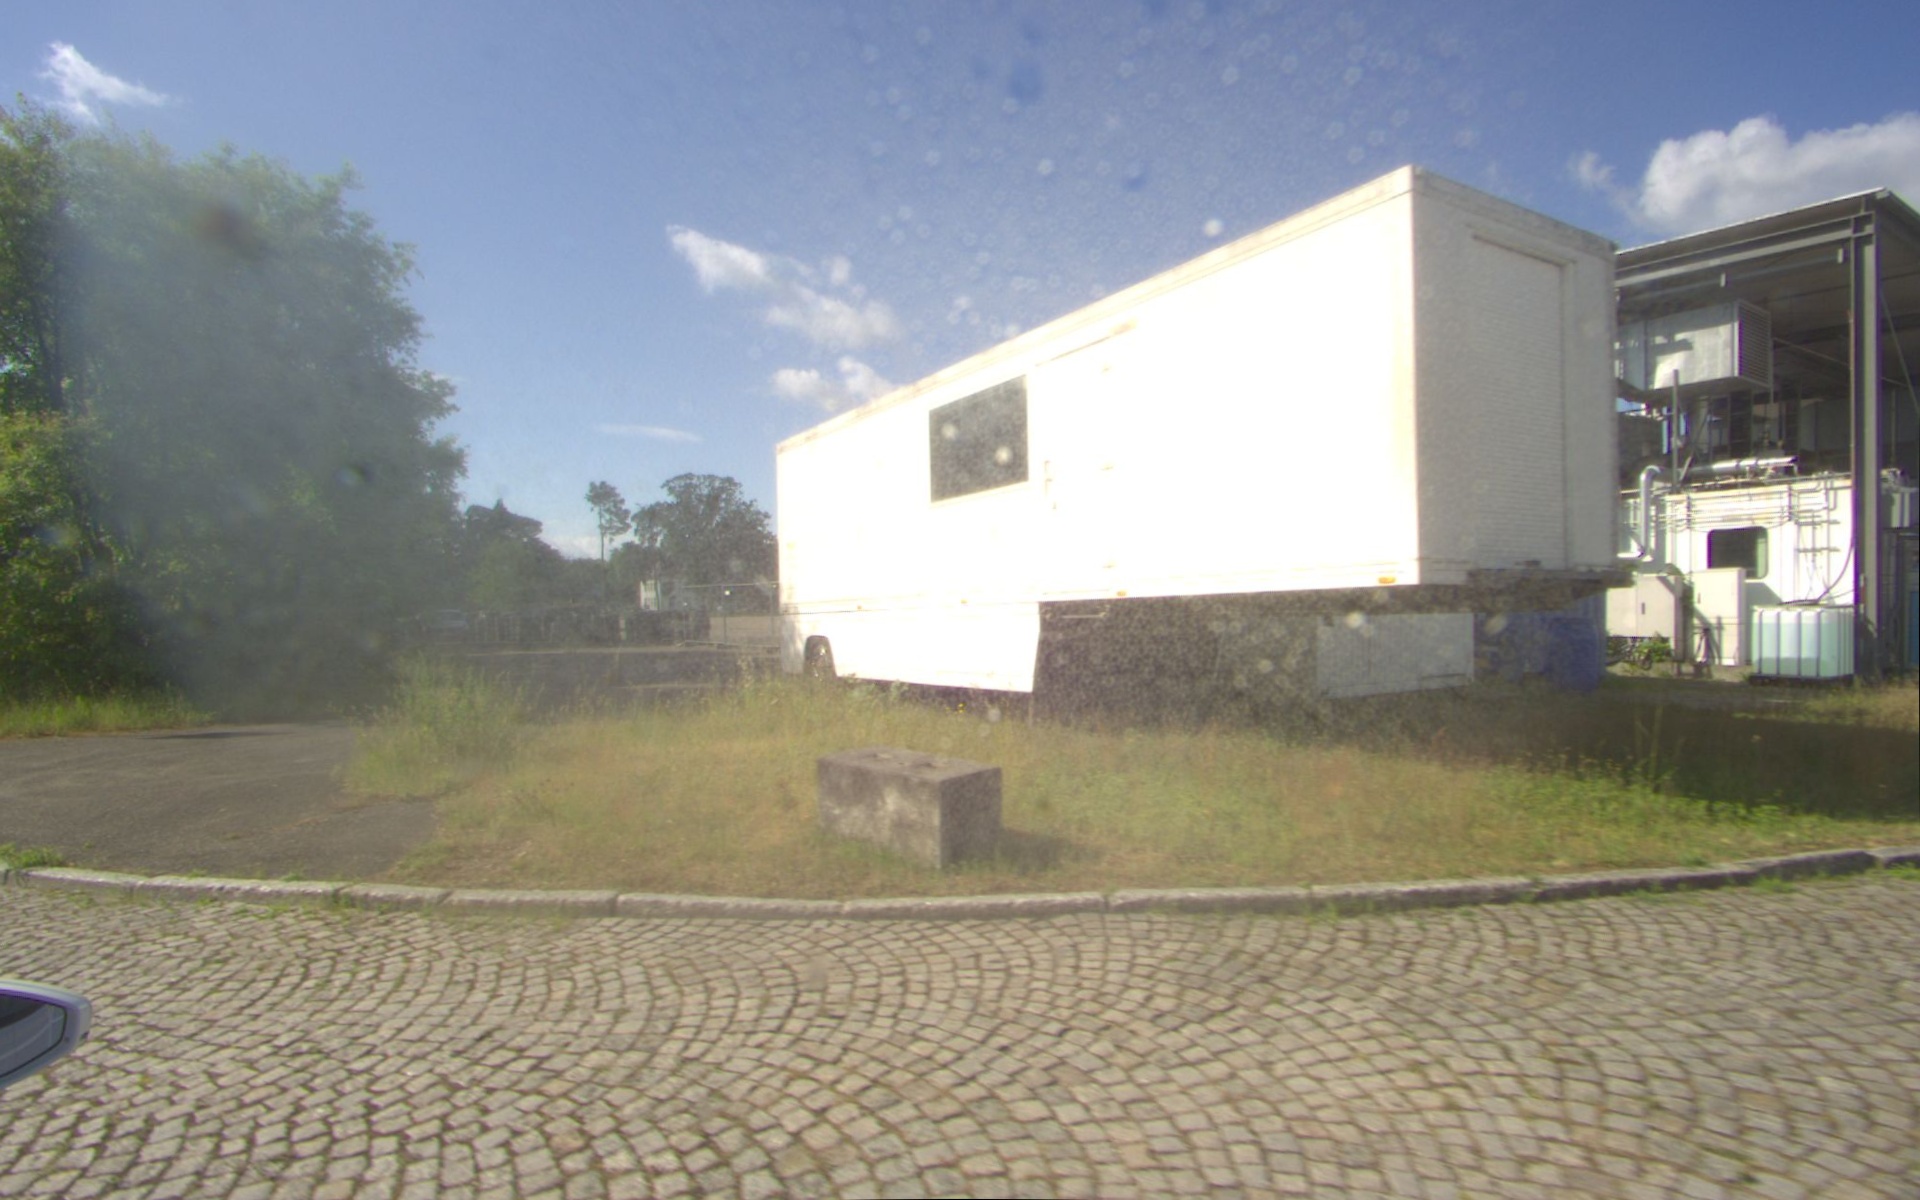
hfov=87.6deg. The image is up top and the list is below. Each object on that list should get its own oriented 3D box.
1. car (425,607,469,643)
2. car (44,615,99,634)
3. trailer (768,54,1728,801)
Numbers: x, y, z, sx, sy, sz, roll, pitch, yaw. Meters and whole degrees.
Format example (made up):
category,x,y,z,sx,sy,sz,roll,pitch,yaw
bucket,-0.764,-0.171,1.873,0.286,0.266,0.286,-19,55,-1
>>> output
category,x,y,z,sx,sy,sz,roll,pitch,yaw
car,-21.211,1.015,41.375,1.522,1.425,3.561,-1,0,-28
car,-63.379,1.750,71.432,2.882,1.276,1.276,-1,0,-43
trailer,1.221,-0.850,10.671,2.743,3.962,10.823,-1,0,-32
